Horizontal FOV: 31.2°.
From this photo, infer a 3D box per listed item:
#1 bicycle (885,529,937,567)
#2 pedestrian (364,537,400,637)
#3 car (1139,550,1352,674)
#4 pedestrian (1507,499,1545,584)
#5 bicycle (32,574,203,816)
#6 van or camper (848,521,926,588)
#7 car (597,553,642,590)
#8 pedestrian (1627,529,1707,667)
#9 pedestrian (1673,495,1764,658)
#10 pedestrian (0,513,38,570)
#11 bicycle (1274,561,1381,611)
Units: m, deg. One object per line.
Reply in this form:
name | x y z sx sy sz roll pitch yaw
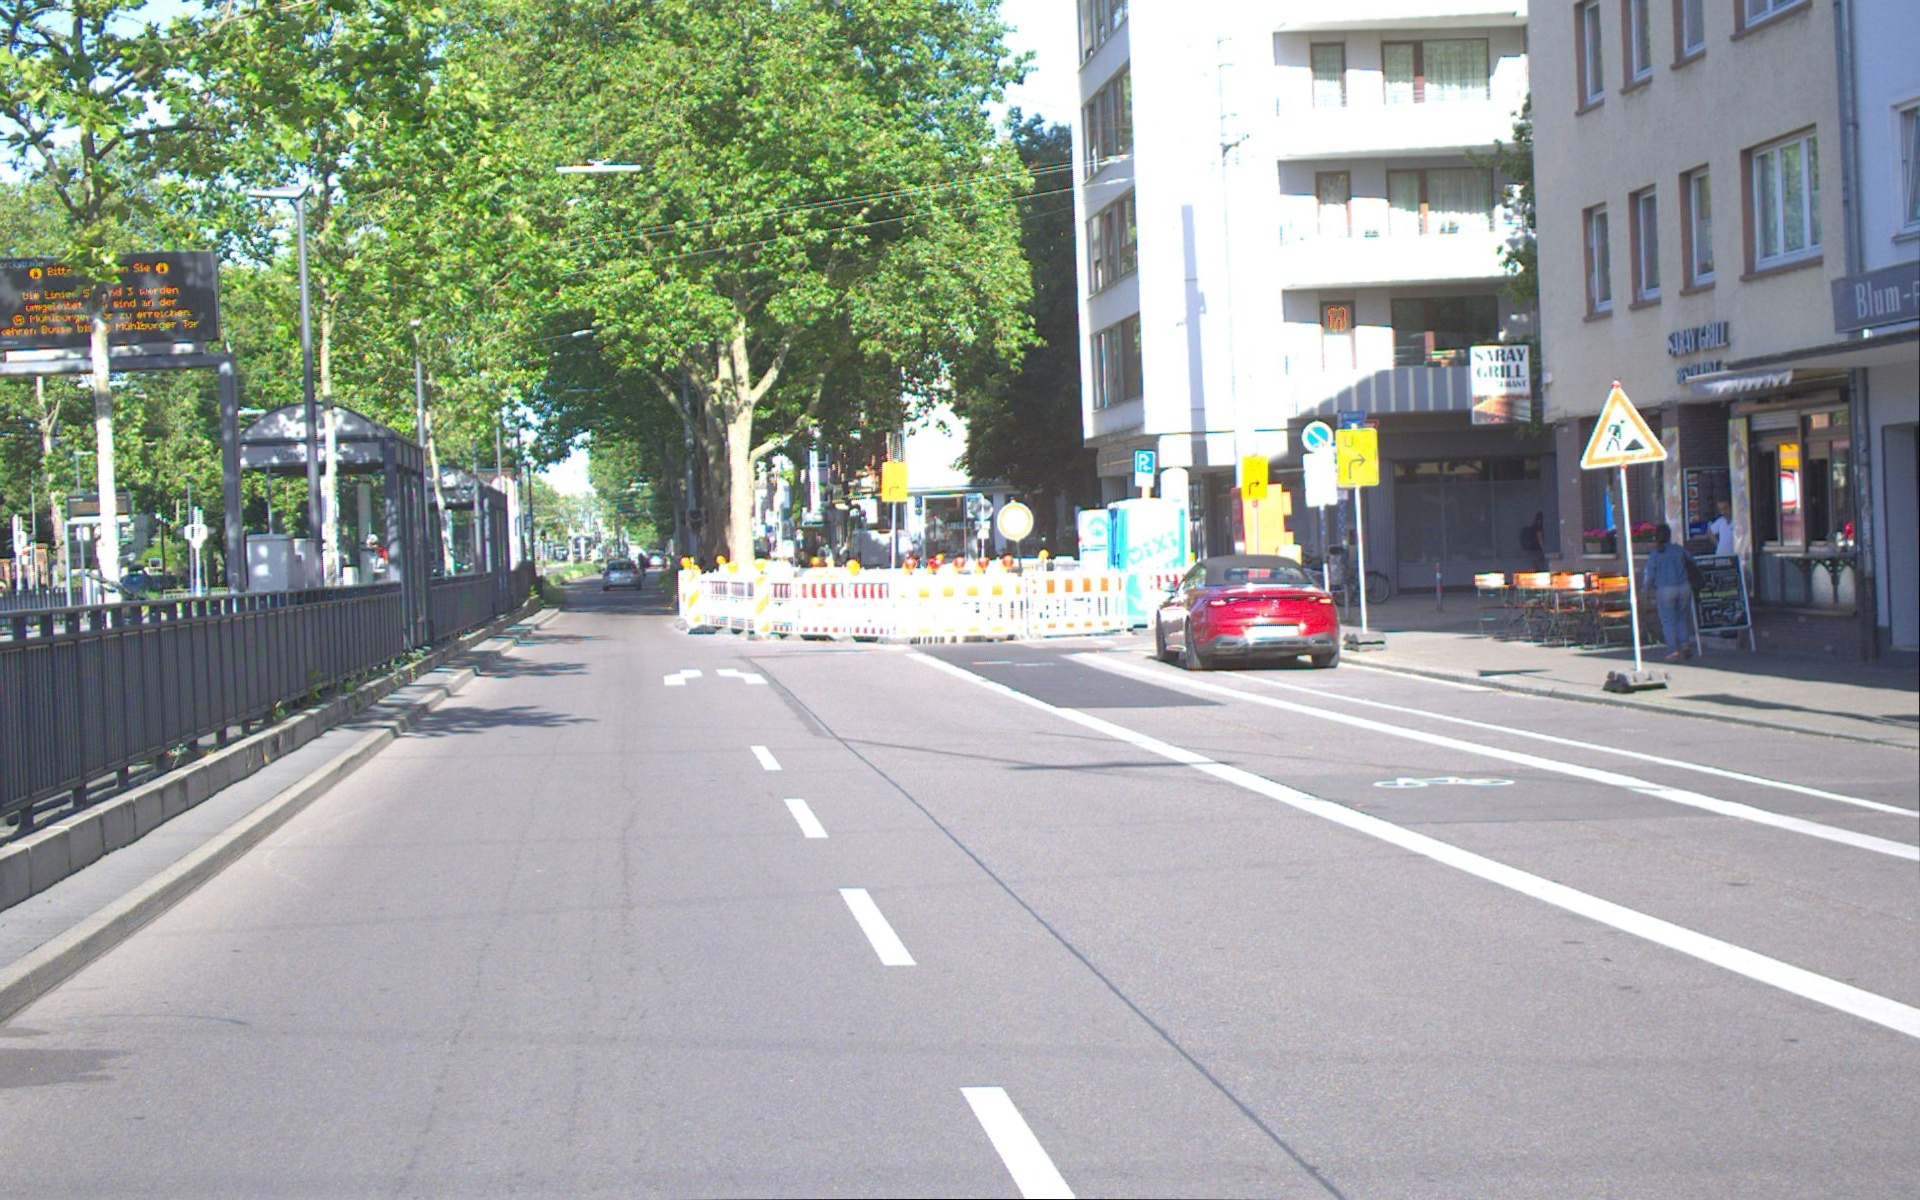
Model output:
bicycle | -1.699 -1.796 118.869 1.603 1.259 0.963 -2 1 -9
pedestrian | -11.820 -0.270 70.292 0.667 2.007 0.716 -1 1 -8
car | 3.585 0.111 44.096 1.871 1.438 5.160 -2 1 -4
pedestrian | 12.457 -1.287 75.700 0.655 1.848 0.678 1 0 -3
bicycle | -5.149 0.546 21.131 0.639 1.374 2.170 -2 1 -5
van or camper | -2.627 -1.620 122.653 2.290 2.279 5.824 -2 1 -6
car | -16.000 -1.357 161.637 2.021 1.656 4.001 -2 1 -6
pedestrian | 7.821 -0.026 38.048 0.671 1.501 0.652 -2 1 -5
pedestrian | 8.780 -0.275 39.794 0.728 1.848 0.901 -2 1 -6
pedestrian | -29.145 -1.810 106.418 0.953 1.730 0.730 -2 1 -3
bicycle | 7.450 -0.288 69.652 2.029 0.940 1.017 -1 1 14
